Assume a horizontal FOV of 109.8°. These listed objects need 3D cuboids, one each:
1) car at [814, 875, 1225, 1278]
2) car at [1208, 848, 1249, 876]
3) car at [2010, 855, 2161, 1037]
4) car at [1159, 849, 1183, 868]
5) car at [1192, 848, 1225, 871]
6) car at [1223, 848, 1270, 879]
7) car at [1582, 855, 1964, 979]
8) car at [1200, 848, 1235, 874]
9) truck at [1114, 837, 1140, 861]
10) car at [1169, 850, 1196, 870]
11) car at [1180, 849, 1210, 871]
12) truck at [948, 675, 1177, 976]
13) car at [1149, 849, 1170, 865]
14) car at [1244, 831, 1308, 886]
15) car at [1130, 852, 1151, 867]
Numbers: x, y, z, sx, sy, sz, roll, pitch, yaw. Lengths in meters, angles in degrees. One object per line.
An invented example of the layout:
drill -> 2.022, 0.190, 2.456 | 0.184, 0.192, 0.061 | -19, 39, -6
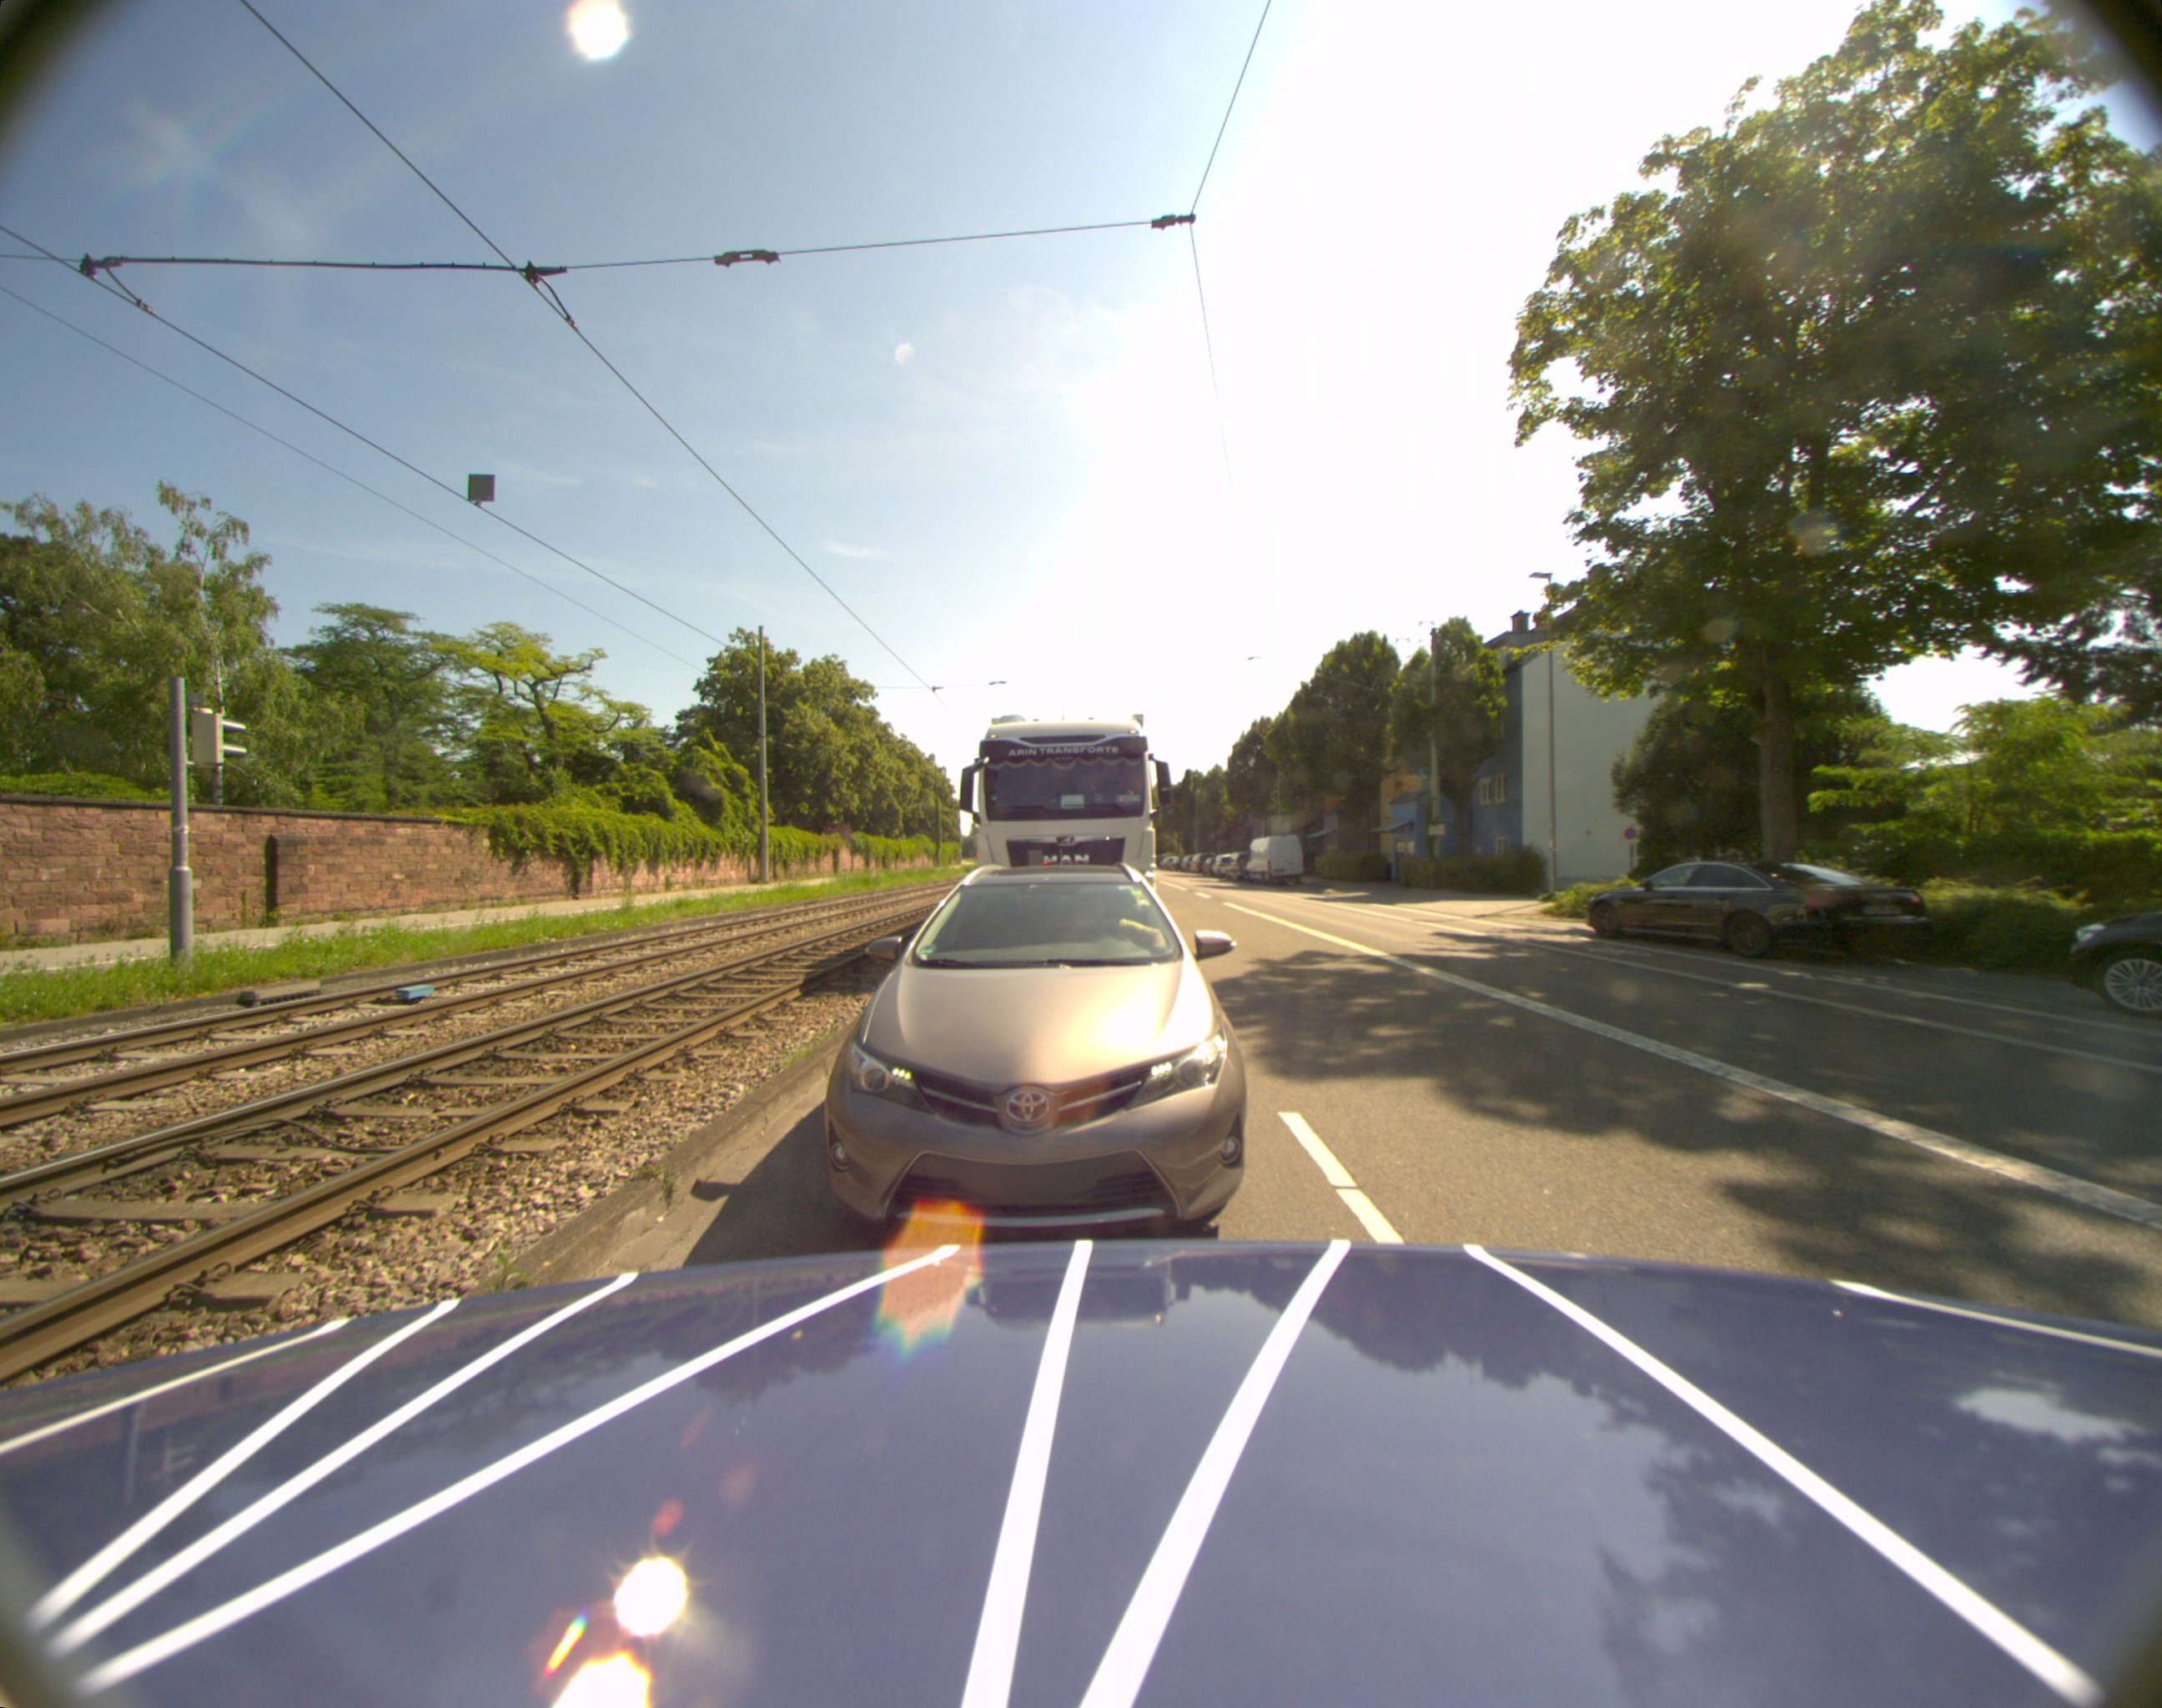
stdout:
car -> -0.211, 0.911, 4.917 | 1.573, 1.422, 4.000 | 0, 0, 1
car -> 11.083, 0.578, 57.387 | 1.998, 1.795, 4.769 | -6, 0, 0
car -> 10.587, 0.824, 5.577 | 1.868, 1.562, 4.621 | -2, 0, 0
car -> 10.153, 0.487, 85.918 | 1.998, 1.795, 4.769 | -6, 0, 0
car -> 11.292, 0.494, 67.682 | 1.998, 1.795, 4.769 | -6, 0, 0
car -> 11.141, 0.635, 51.454 | 1.998, 1.795, 4.769 | -6, 0, 0
car -> 10.561, 0.824, 12.221 | 1.868, 1.562, 4.621 | -1, 0, -2
car -> 11.227, 0.558, 62.870 | 1.998, 1.795, 4.256 | -6, 0, 0
truck -> 6.987, -0.675, 116.115 | 2.704, 3.263, 6.724 | -6, 0, -5
car -> 10.574, 0.633, 79.175 | 1.998, 1.795, 4.769 | -6, 0, 0
car -> 10.987, 0.562, 73.385 | 1.998, 1.795, 4.769 | -6, 0, 0
truck -> -0.147, -0.386, 17.215 | 2.935, 3.856, 14.912 | 0, 0, 1
car -> 9.916, 0.427, 96.846 | 1.998, 1.795, 4.769 | -6, 0, 0
car -> 10.929, 0.248, 43.158 | 1.998, 2.678, 6.214 | -6, 0, 2
car -> 8.280, 0.796, 105.577 | 1.999, 1.795, 5.111 | -6, 0, -4
